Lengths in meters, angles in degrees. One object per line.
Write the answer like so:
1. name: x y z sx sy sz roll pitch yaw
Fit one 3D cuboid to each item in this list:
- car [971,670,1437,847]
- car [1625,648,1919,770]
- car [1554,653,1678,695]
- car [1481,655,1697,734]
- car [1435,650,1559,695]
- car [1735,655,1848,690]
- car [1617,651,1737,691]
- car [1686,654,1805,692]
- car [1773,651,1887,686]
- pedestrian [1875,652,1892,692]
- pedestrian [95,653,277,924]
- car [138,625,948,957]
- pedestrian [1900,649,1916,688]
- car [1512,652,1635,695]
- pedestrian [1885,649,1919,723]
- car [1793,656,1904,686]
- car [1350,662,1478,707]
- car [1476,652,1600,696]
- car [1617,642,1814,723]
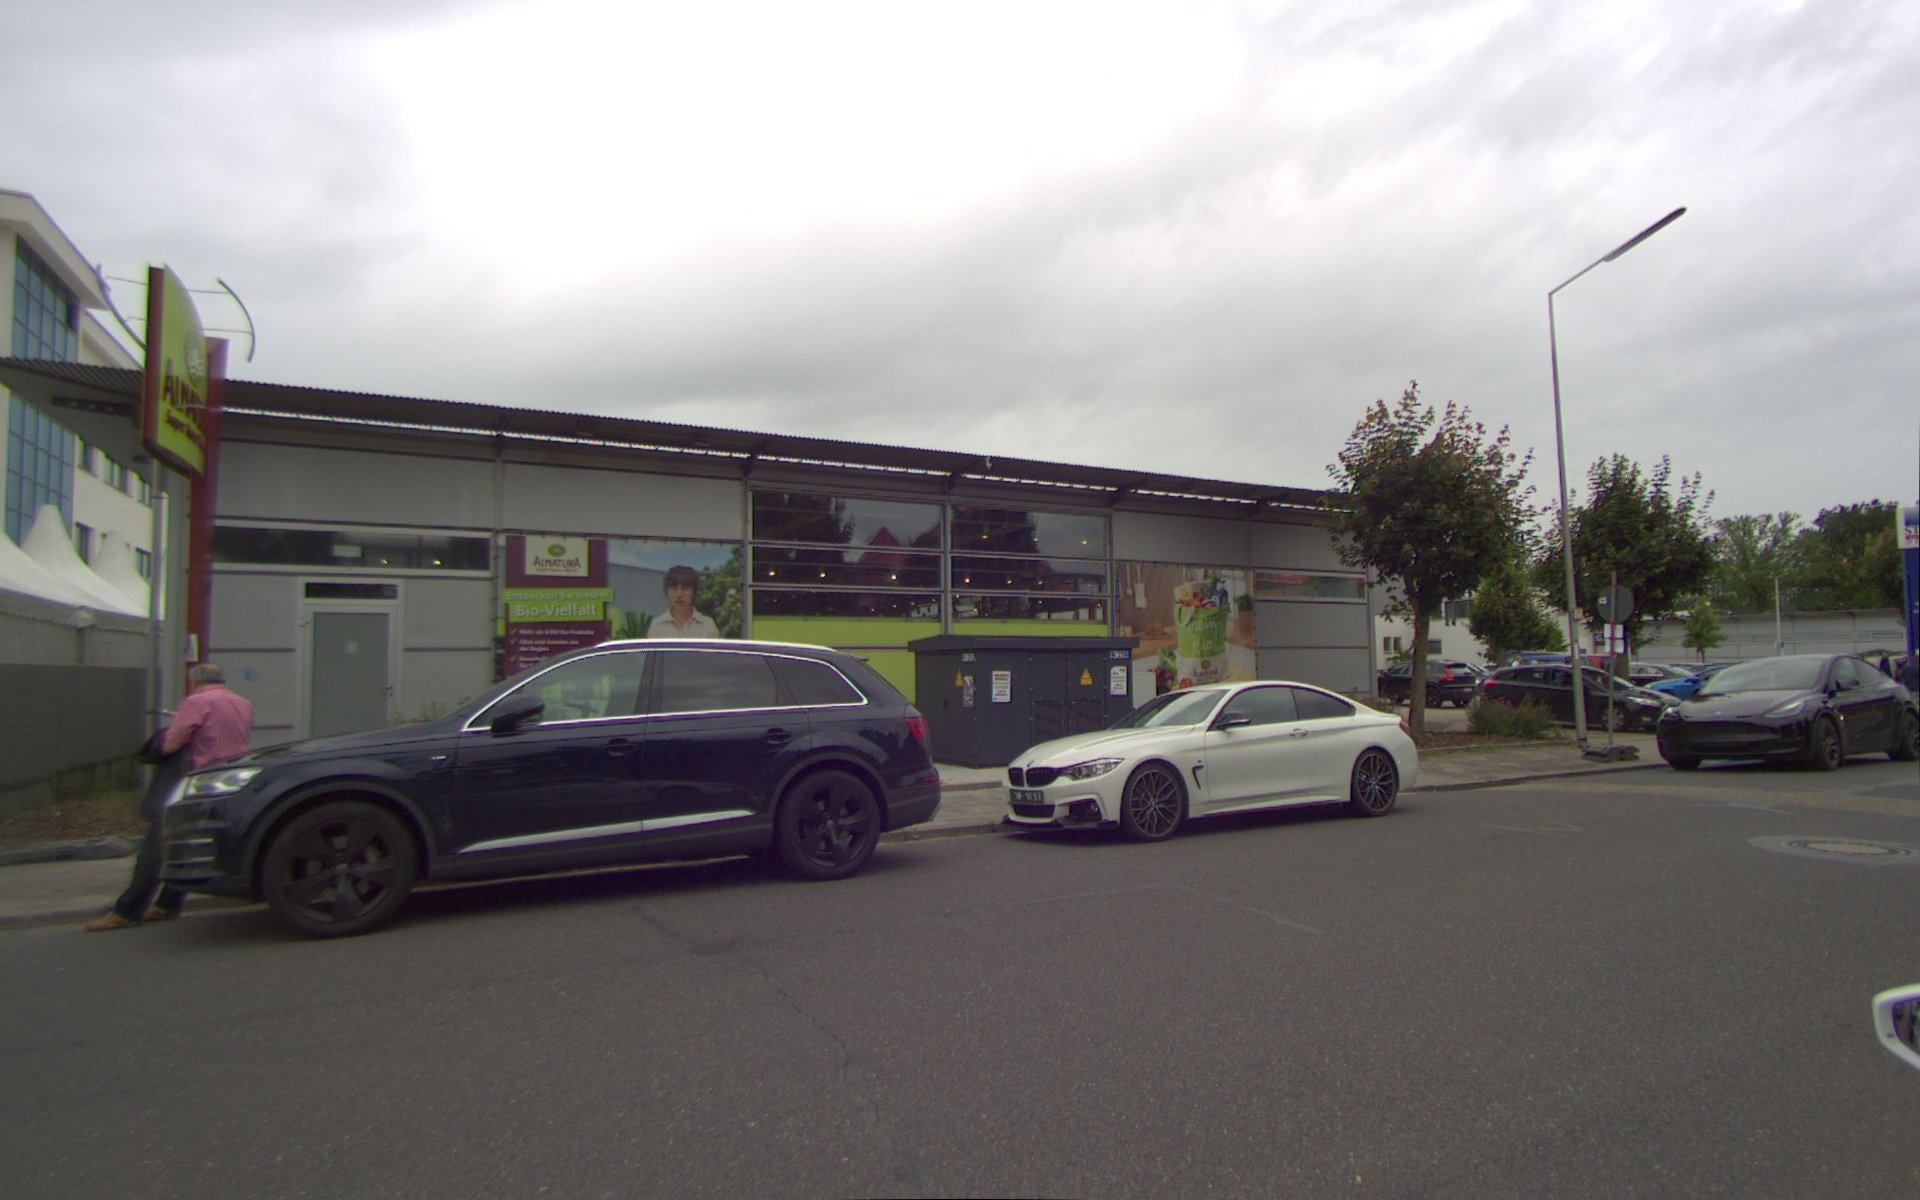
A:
1. car: 2.482 1.481 9.975 4.462 1.384 1.693 2 -9 -29
2. car: 12.052 1.582 14.767 4.350 1.545 1.940 2 -8 -30
3. car: 27.806 3.143 42.704 1.852 1.690 3.974 1 -4 -27
4. car: 14.626 2.124 23.579 1.903 1.641 3.860 1 -3 -27
5. car: 21.202 2.865 39.823 1.852 1.690 3.974 1 -4 -27
6. car: 42.098 3.659 50.932 1.852 1.690 3.974 1 -4 -27
7. car: 32.266 3.191 45.308 1.852 1.690 3.974 1 -4 -27
8. car: 36.889 3.427 47.278 1.852 1.690 3.974 1 -4 -27
9. car: 44.508 3.522 51.498 1.852 1.690 3.974 1 -4 -27
10. pedestrian: 38.583 3.021 41.971 0.372 1.663 0.450 3 -5 -45
11. pedestrian: -5.077 1.212 6.621 0.641 1.641 0.675 -6 -8 26
12. car: -2.596 1.152 7.160 4.668 1.712 1.861 1 -7 -27
13. pedestrian: 39.092 2.823 41.418 0.499 1.590 0.356 2 -4 -38
14. car: 25.575 3.081 41.998 1.852 1.690 3.974 1 -4 -27
15. pedestrian: 22.869 2.048 24.127 0.689 1.737 0.771 2 -3 -32
16. car: 46.496 3.724 52.662 1.763 1.511 3.975 1 -4 -26
17. car: 16.285 3.013 36.038 3.932 1.504 1.872 -3 -4 33
18. car: 23.390 2.994 40.776 1.852 1.690 3.974 1 -4 -27
19. car: 20.669 2.256 27.635 1.743 2.039 3.907 2 -5 -34
